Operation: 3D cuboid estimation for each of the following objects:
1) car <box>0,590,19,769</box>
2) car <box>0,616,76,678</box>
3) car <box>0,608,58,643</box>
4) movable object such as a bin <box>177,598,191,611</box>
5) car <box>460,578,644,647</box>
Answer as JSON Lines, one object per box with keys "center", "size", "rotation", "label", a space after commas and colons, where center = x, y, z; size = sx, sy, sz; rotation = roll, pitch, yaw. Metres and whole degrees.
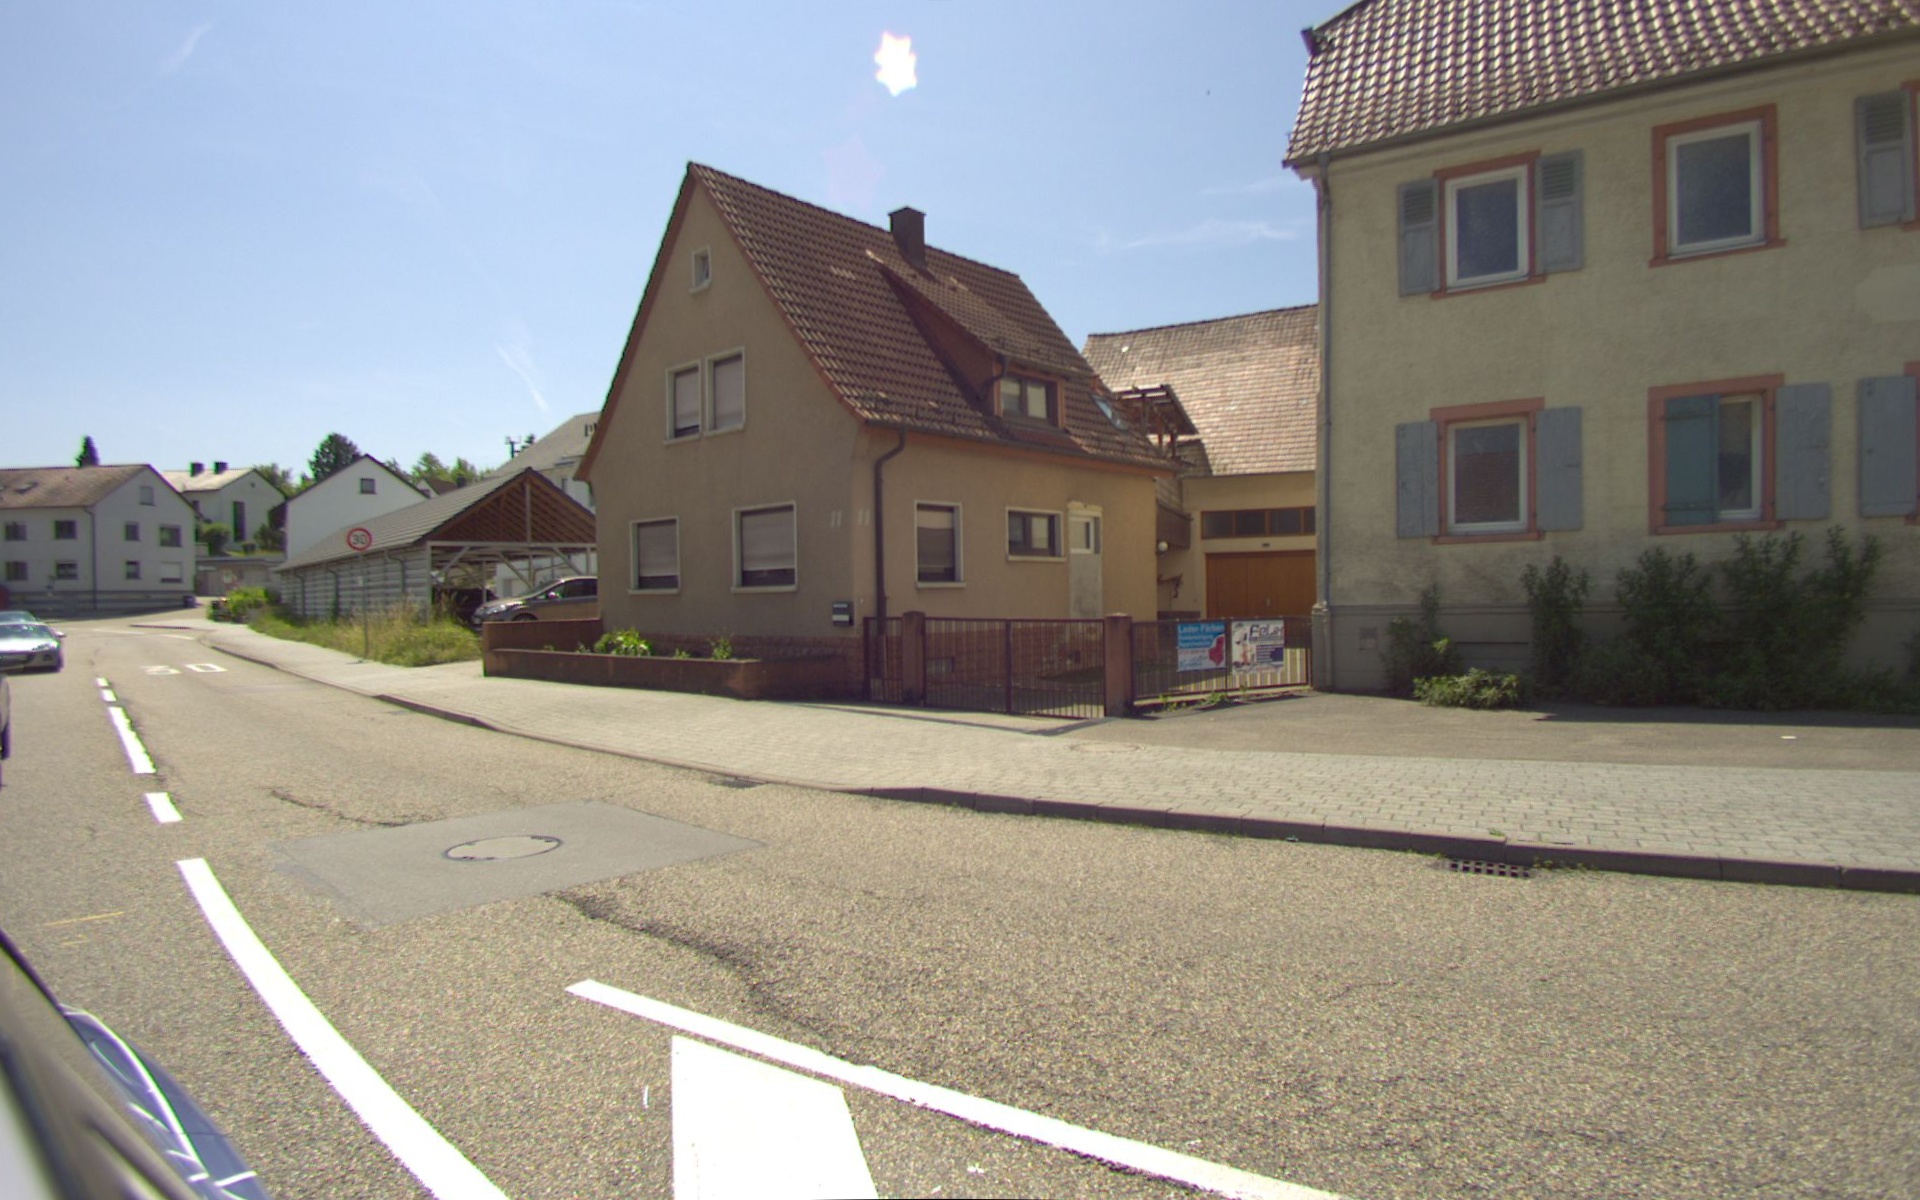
{"center": [-9.220, 0.725, 8.436], "size": [1.738, 1.604, 4.205], "rotation": [-2, 1, -40], "label": "car"}
{"center": [-23.038, 1.114, 24.738], "size": [1.785, 1.324, 4.009], "rotation": [-2, 1, -36], "label": "car"}
{"center": [-39.895, 1.053, 42.986], "size": [3.998, 1.386, 1.873], "rotation": [-1, 1, 41], "label": "car"}
{"center": [-58.436, 0.338, 76.230], "size": [0.592, 0.941, 0.599], "rotation": [-1, 0, 2], "label": "movable object such as a bin"}
{"center": [-10.519, 0.289, 26.225], "size": [4.073, 1.650, 1.868], "rotation": [0, 0, -40], "label": "car"}
